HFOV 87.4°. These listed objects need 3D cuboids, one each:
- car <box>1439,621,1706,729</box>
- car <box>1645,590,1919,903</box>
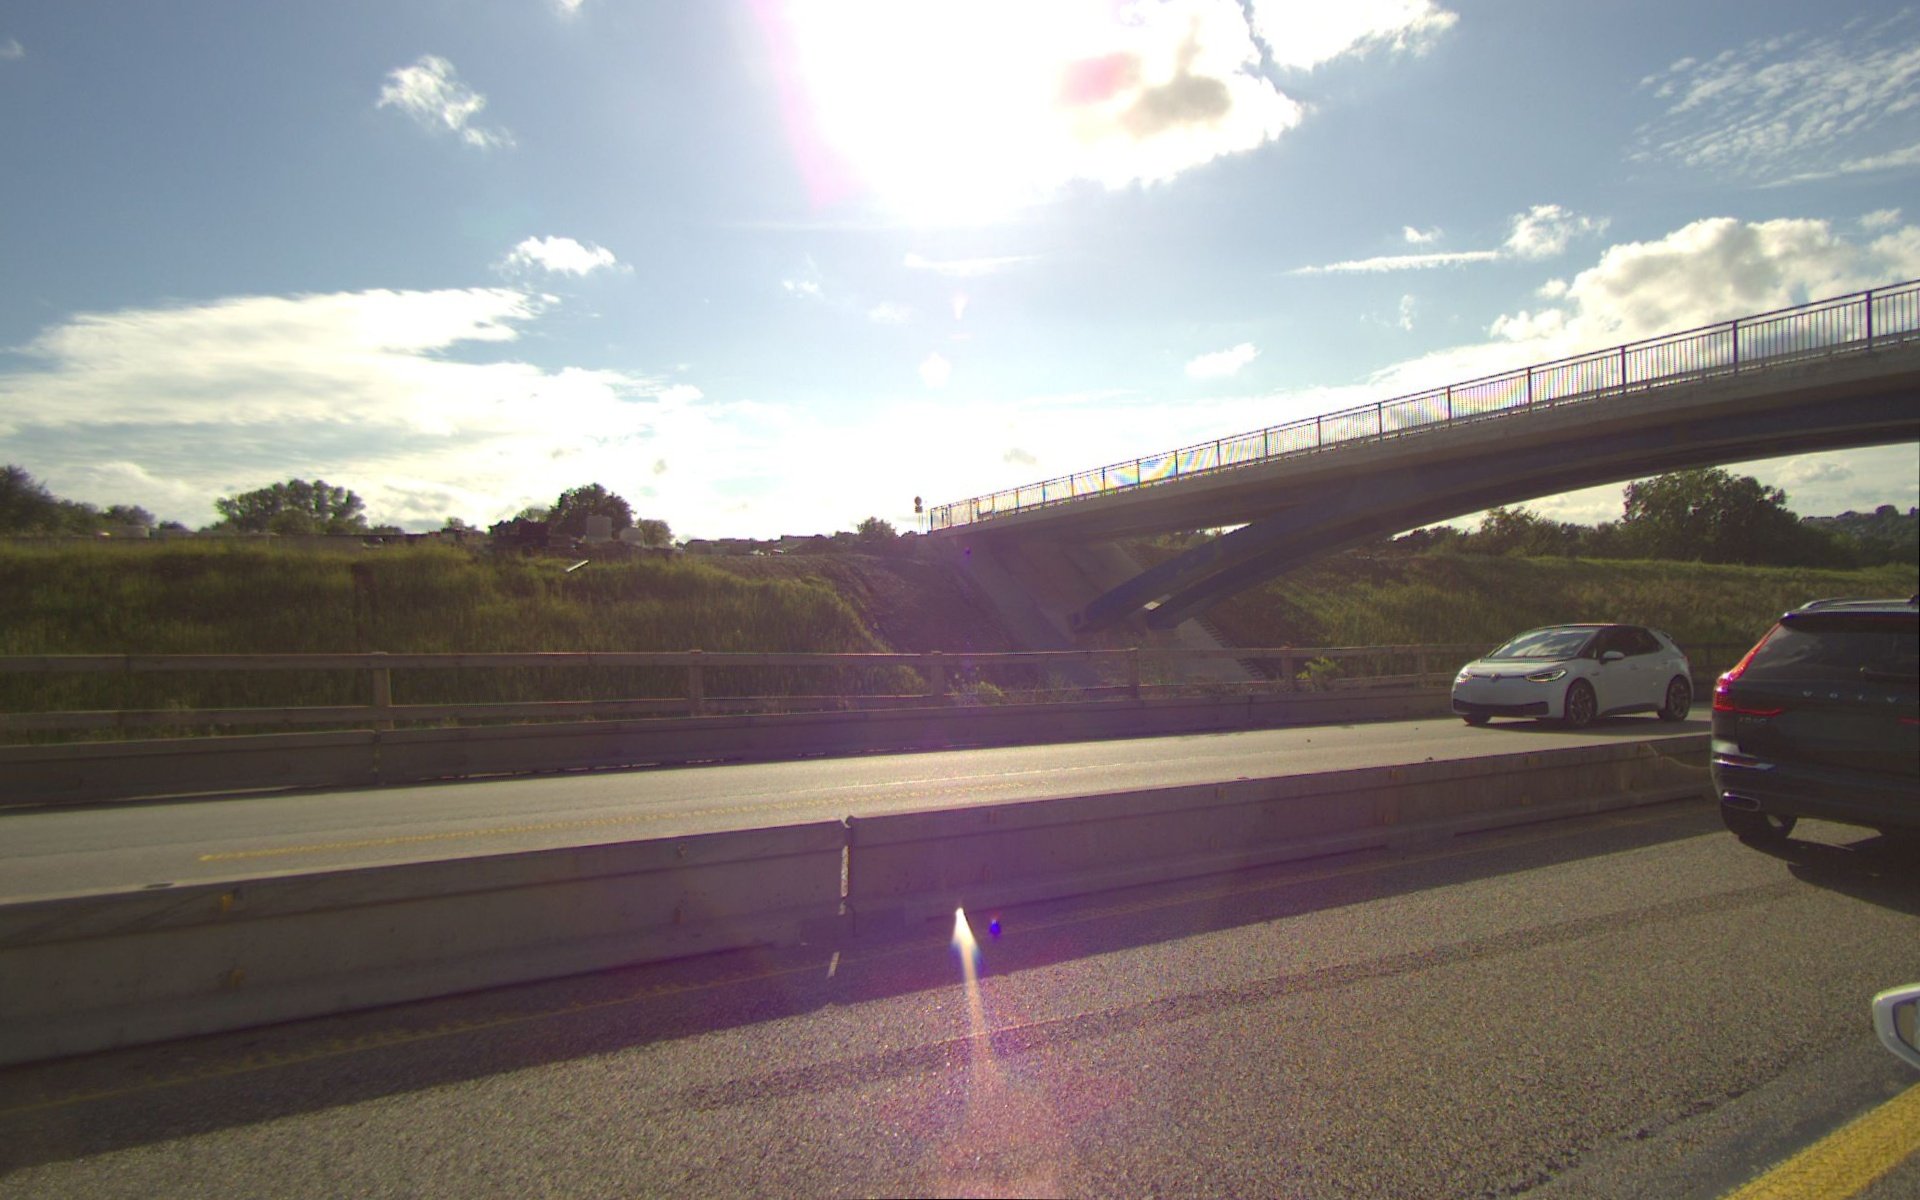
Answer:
[{"bbox_3d":[9.708,1.115,15.875,4.168,1.511,1.815,1,-3,-30],"label":"car"},{"bbox_3d":[6.909,0.805,6.785,4.695,1.646,1.984,1,-1,-31],"label":"car"}]
